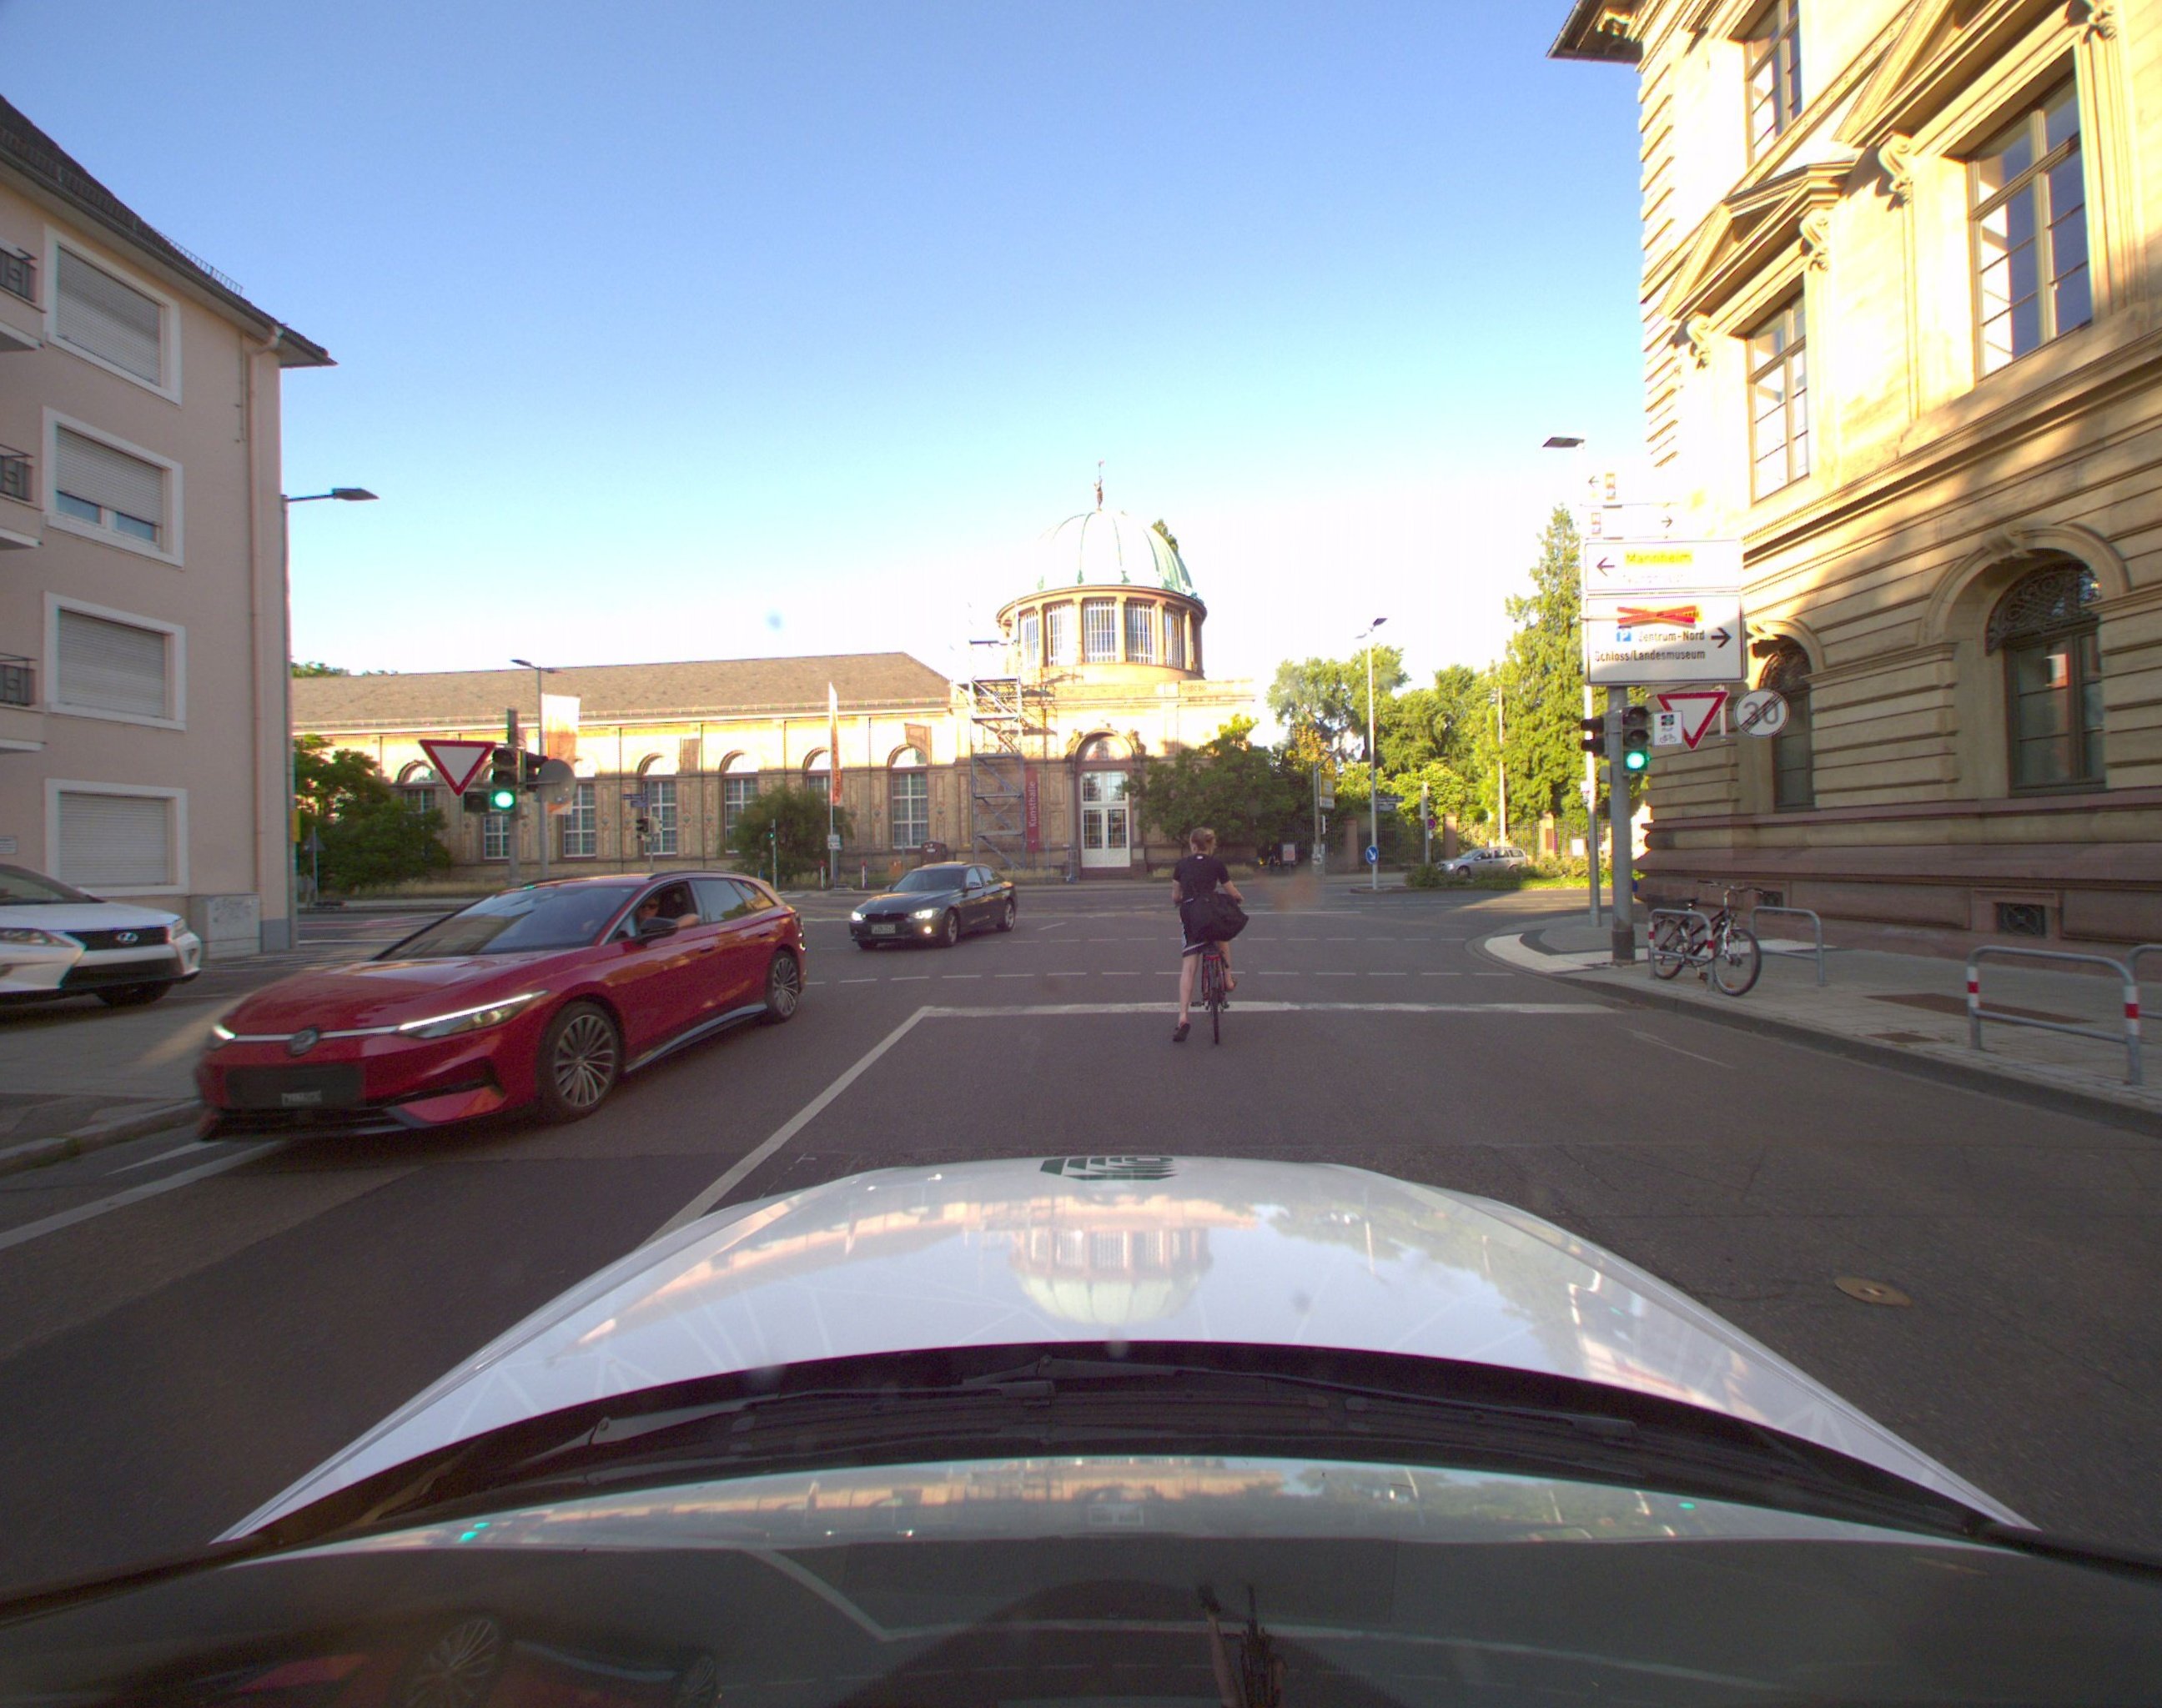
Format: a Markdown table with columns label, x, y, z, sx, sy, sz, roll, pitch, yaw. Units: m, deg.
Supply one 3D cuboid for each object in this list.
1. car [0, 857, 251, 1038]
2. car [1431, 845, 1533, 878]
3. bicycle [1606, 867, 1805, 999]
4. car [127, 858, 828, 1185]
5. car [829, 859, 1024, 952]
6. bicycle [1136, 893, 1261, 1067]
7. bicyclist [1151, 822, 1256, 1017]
| label | x | y | z | sx | sy | sz | roll | pitch | yaw |
| --- | --- | --- | --- | --- | --- | --- | --- | --- | --- |
| car | -11.814 | 0.853 | 8.415 | 4.426 | 1.641 | 1.942 | 0 | 0 | 0 |
| car | 19.489 | 0.353 | 39.696 | 4.176 | 1.445 | 1.713 | -2 | 0 | -4 |
| bicycle | 6.290 | 0.744 | 8.361 | 0.580 | 1.188 | 1.921 | -1 | -2 | 2 |
| car | -3.849 | 0.876 | 6.586 | 1.823 | 1.545 | 4.851 | -3 | 0 | 3 |
| car | -2.737 | 0.873 | 15.583 | 1.768 | 1.459 | 4.442 | -3 | -1 | 16 |
| bicycle | 1.044 | 0.938 | 6.776 | 0.706 | 1.156 | 2.077 | -2 | -2 | 16 |
| bicyclist | 1.042 | 0.526 | 6.808 | 0.710 | 1.502 | 0.854 | -2 | -2 | 16 |
